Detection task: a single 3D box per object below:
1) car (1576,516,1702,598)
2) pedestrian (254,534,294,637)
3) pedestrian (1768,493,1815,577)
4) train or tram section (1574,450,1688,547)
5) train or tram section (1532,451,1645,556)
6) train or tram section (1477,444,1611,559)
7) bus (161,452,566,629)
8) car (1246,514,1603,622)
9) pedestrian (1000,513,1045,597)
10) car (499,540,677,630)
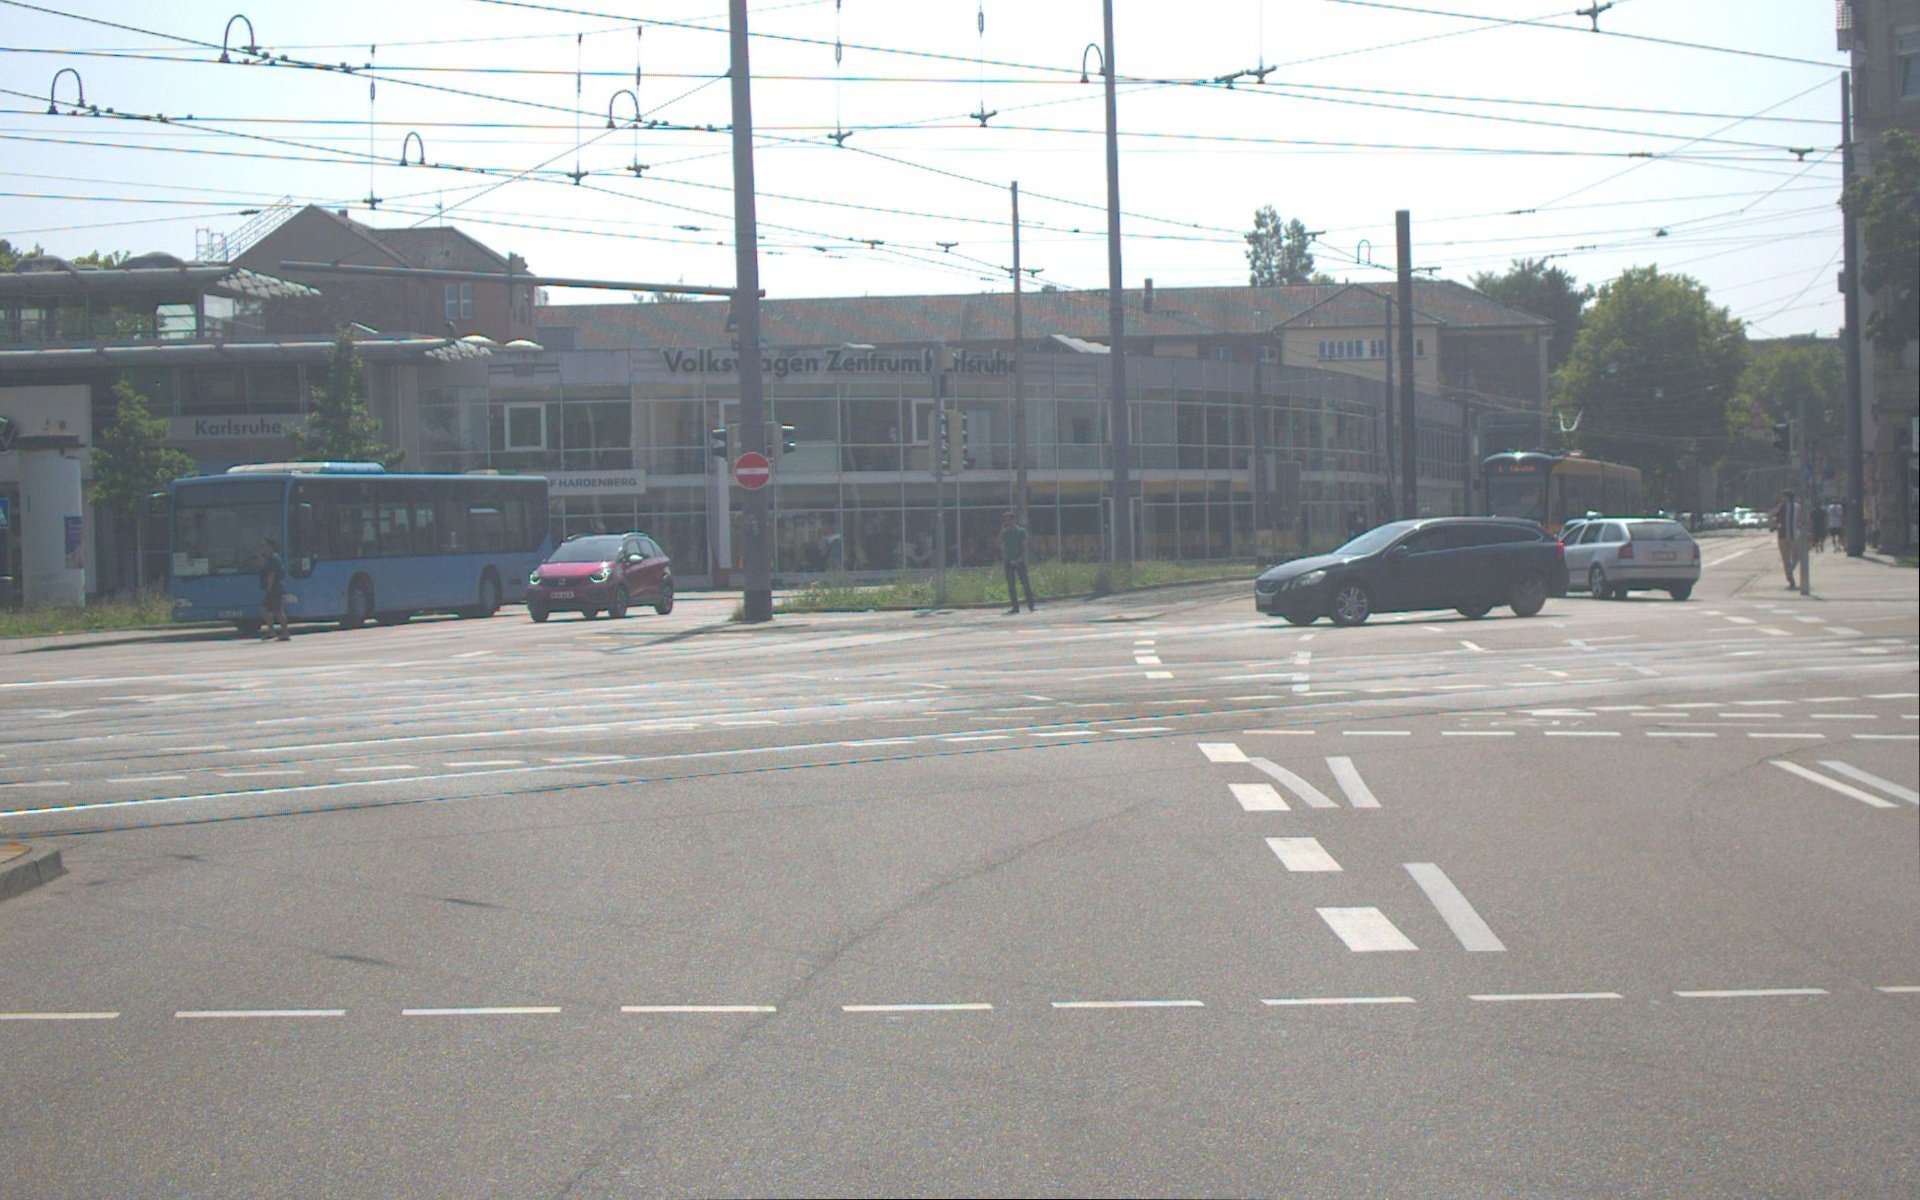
[{"bbox_3d":[12.256,-0.807,62.292,1.770,1.411,4.188,-1,1,5],"label":"car"},{"bbox_3d":[-11.286,-0.236,56.572,0.552,1.678,0.454,-1,1,-18],"label":"pedestrian"},{"bbox_3d":[16.048,-1.254,66.373,0.699,1.597,0.573,-1,1,-8],"label":"pedestrian"},{"bbox_3d":[25.806,-3.853,131.722,2.590,3.504,12.961,-1,1,19],"label":"train or tram section"},{"bbox_3d":[22.192,-3.380,120.964,2.590,3.504,9.650,-1,1,18],"label":"train or tram section"},{"bbox_3d":[18.992,-3.162,111.238,2.590,3.504,10.889,-1,1,19],"label":"train or tram section"},{"bbox_3d":[-11.240,-1.187,66.618,2.564,3.072,12.014,-1,1,17],"label":"bus"},{"bbox_3d":[6.650,-0.475,49.252,4.752,1.411,1.776,-2,1,-19],"label":"car"},{"bbox_3d":[1.087,-0.780,59.587,0.676,1.438,0.366,-1,1,-17],"label":"pedestrian"},{"bbox_3d":[-6.809,-0.302,63.355,1.751,1.546,3.997,-1,1,18],"label":"car"}]
